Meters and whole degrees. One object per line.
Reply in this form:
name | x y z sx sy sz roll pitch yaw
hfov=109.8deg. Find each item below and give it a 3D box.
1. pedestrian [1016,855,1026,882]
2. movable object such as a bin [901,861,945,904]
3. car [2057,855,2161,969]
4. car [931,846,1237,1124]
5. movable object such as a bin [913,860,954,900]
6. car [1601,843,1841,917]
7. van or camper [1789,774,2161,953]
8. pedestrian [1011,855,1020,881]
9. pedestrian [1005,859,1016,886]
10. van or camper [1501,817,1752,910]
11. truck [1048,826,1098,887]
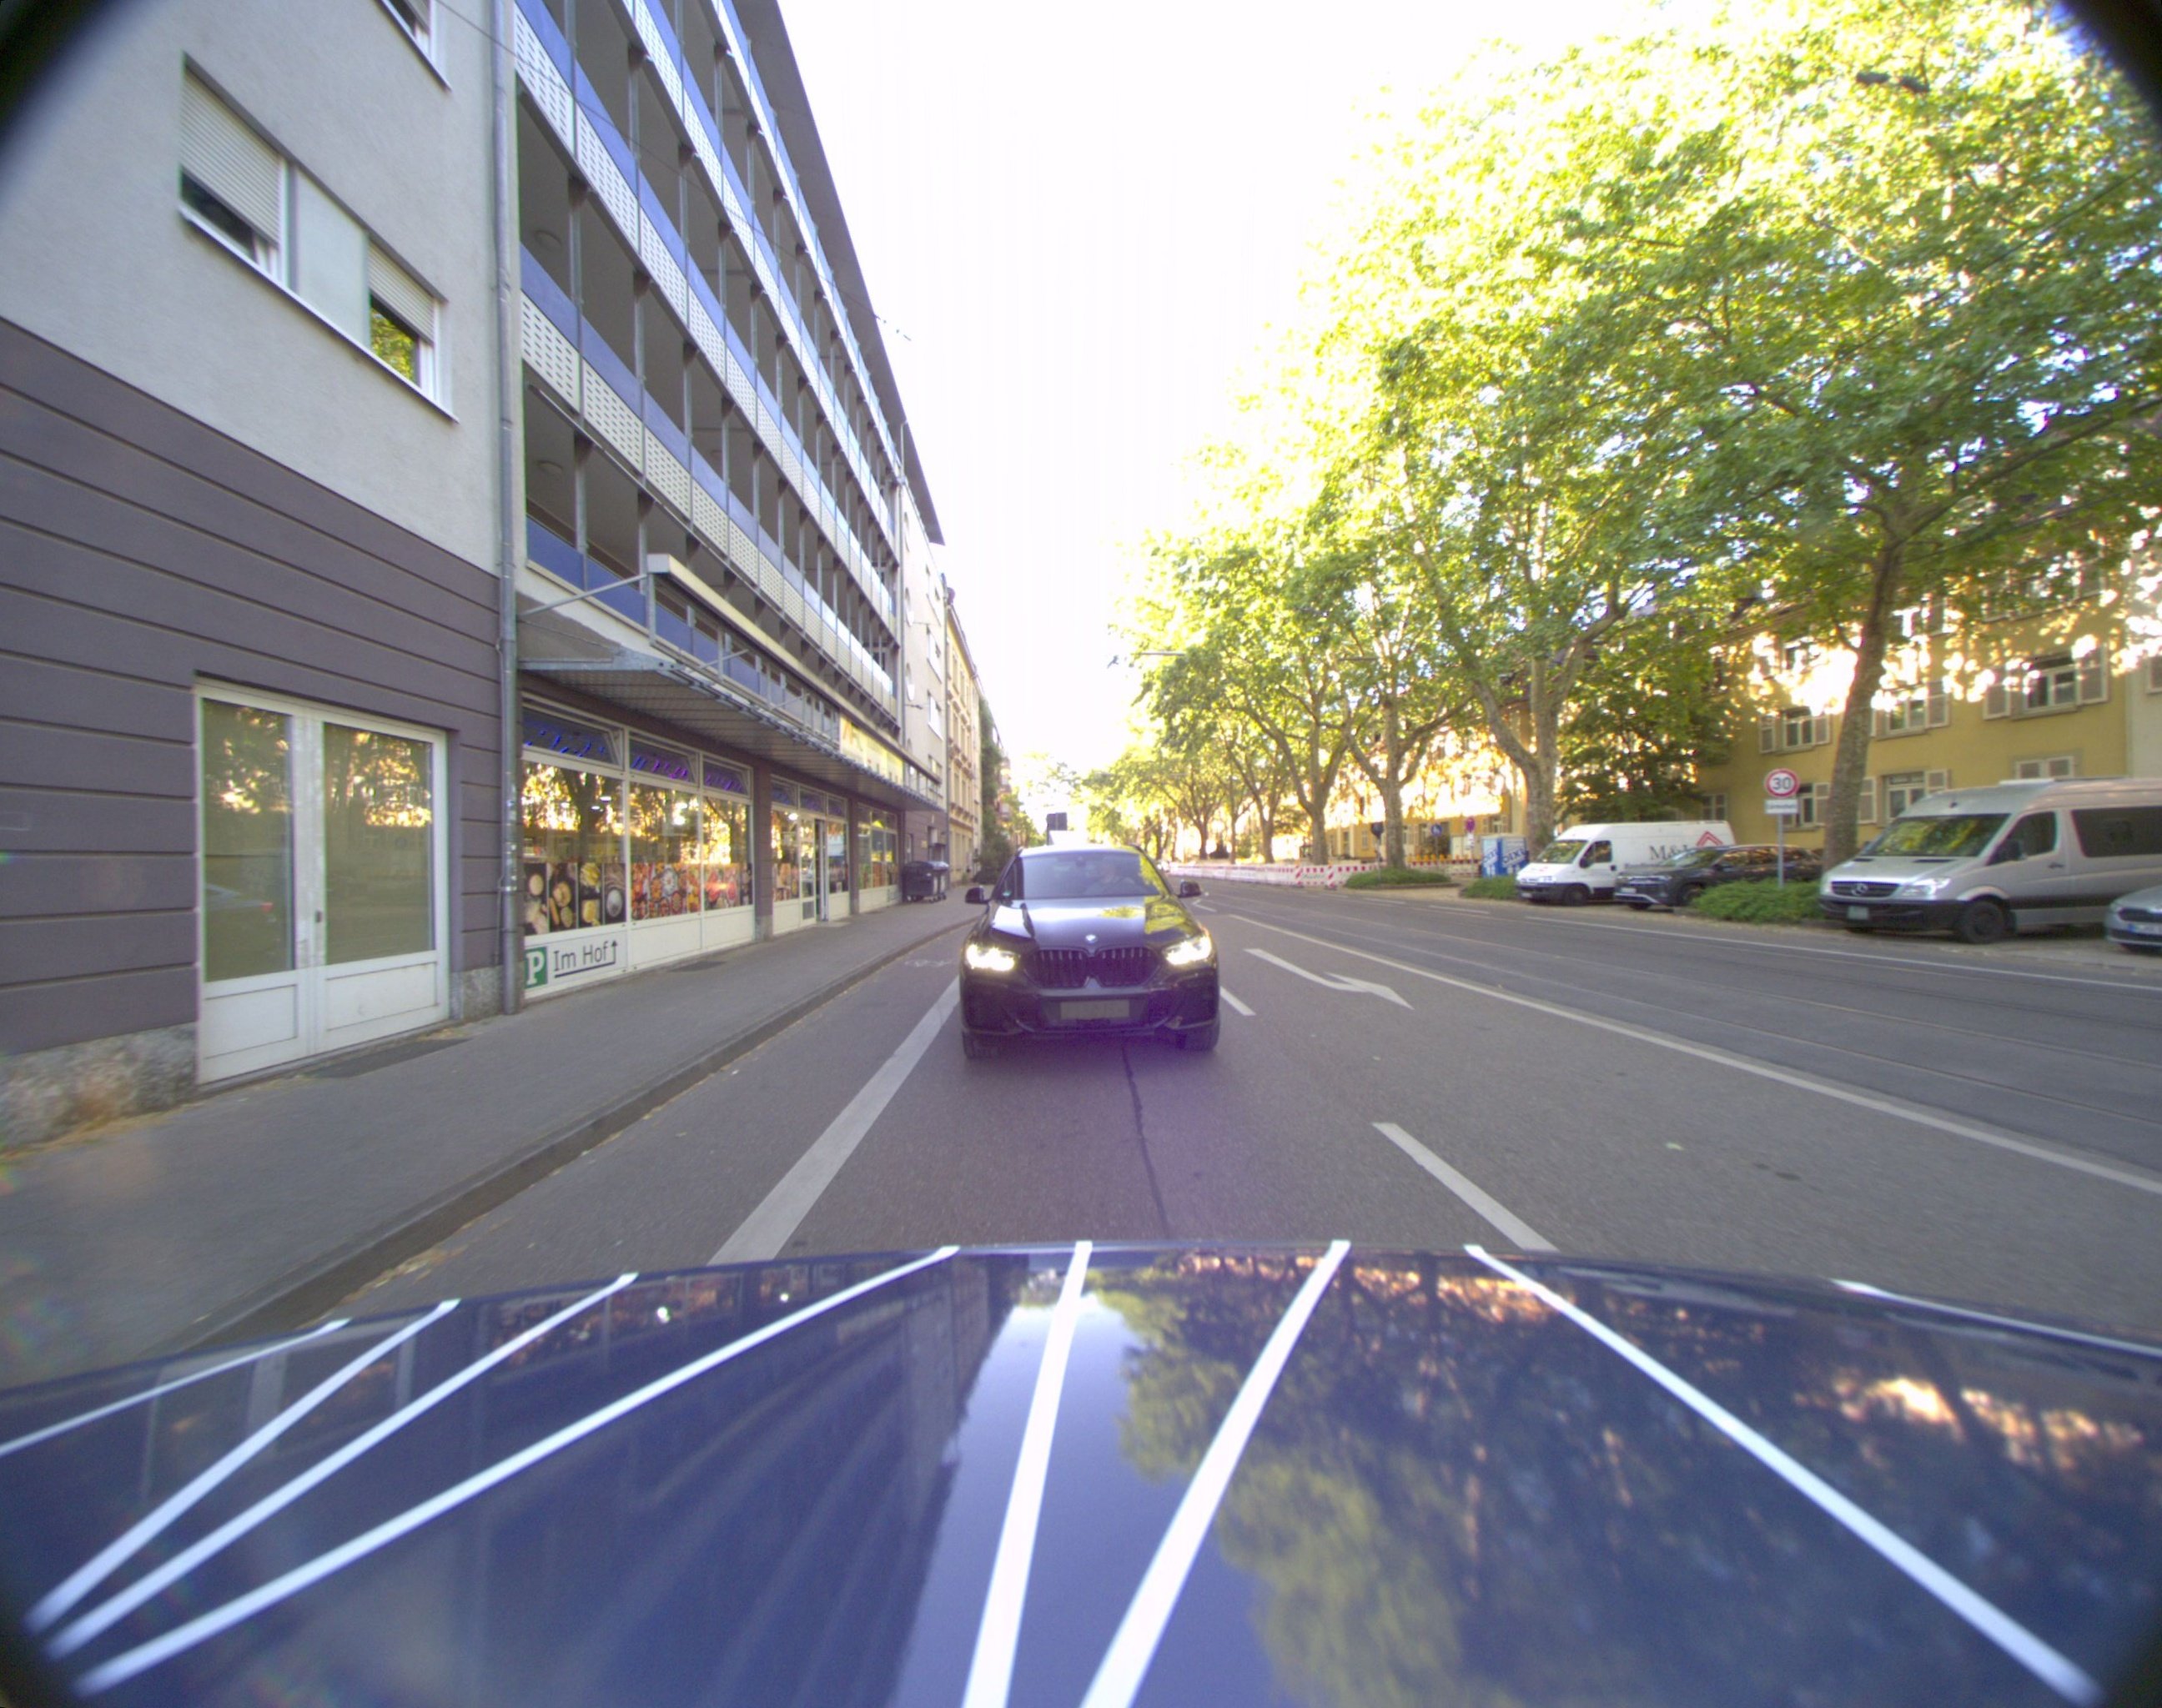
pedestrian | -3.720 0.918 47.312 0.541 1.662 0.630 -1 0 0
movable object such as a bin | -5.371 0.950 25.947 1.203 1.402 1.372 -1 0 0
car | 16.297 0.713 10.155 4.276 1.438 1.693 -2 1 1
car | 0.053 0.835 7.290 1.930 1.742 4.683 -2 1 1
movable object such as a bin | -5.405 0.930 27.946 1.203 1.402 1.372 -1 0 0
car | 15.927 0.619 19.070 4.540 1.624 1.693 -2 1 1
van or camper | 15.966 0.098 12.875 5.932 2.633 2.156 -2 1 0
pedestrian | -4.259 0.902 49.293 0.541 1.662 0.513 -1 0 0
pedestrian | -3.848 1.009 41.635 0.541 1.437 0.630 -1 0 0
van or camper | 15.791 0.259 22.234 5.763 2.371 2.156 -2 1 0
truck | -0.537 0.106 42.103 2.344 3.095 5.210 -2 1 -4
